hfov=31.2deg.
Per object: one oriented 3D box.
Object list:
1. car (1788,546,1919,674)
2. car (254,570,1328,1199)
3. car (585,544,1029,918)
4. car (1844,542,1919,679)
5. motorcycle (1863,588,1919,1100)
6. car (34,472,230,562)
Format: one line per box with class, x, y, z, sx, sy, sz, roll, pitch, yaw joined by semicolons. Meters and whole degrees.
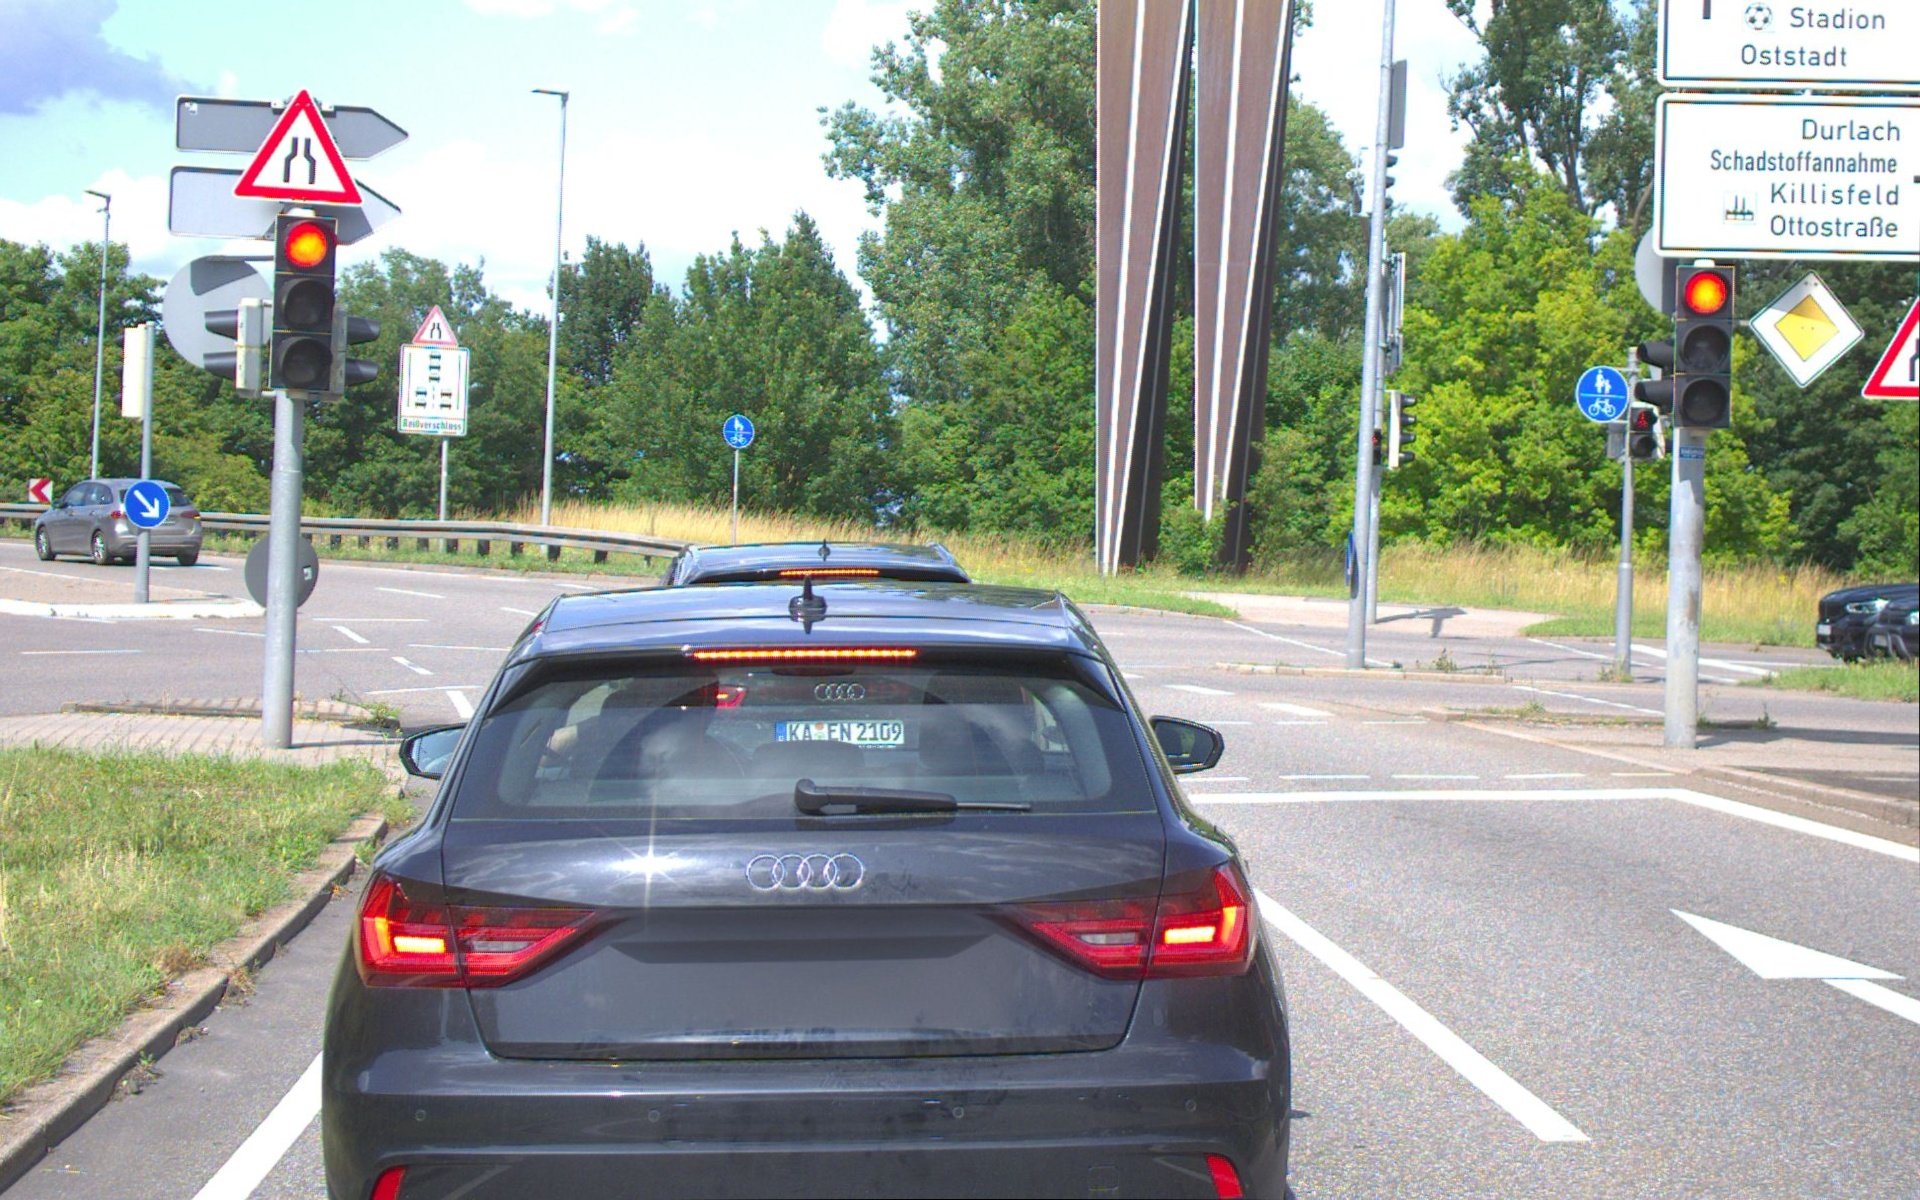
car;13.204;0.166;43.734;4.847;1.539;1.737;2;1;-1
car;-0.293;0.668;7.540;1.726;1.399;4.000;0;1;-1
car;-0.749;0.477;15.339;1.726;1.418;3.845;0;1;-5
car;12.650;0.166;39.882;4.268;1.539;1.737;2;1;-1
motorcycle;3.094;0.691;8.687;0.936;1.378;2.370;1;1;-1
car;-14.891;-1.511;61.697;1.994;1.491;4.119;1;1;-36
